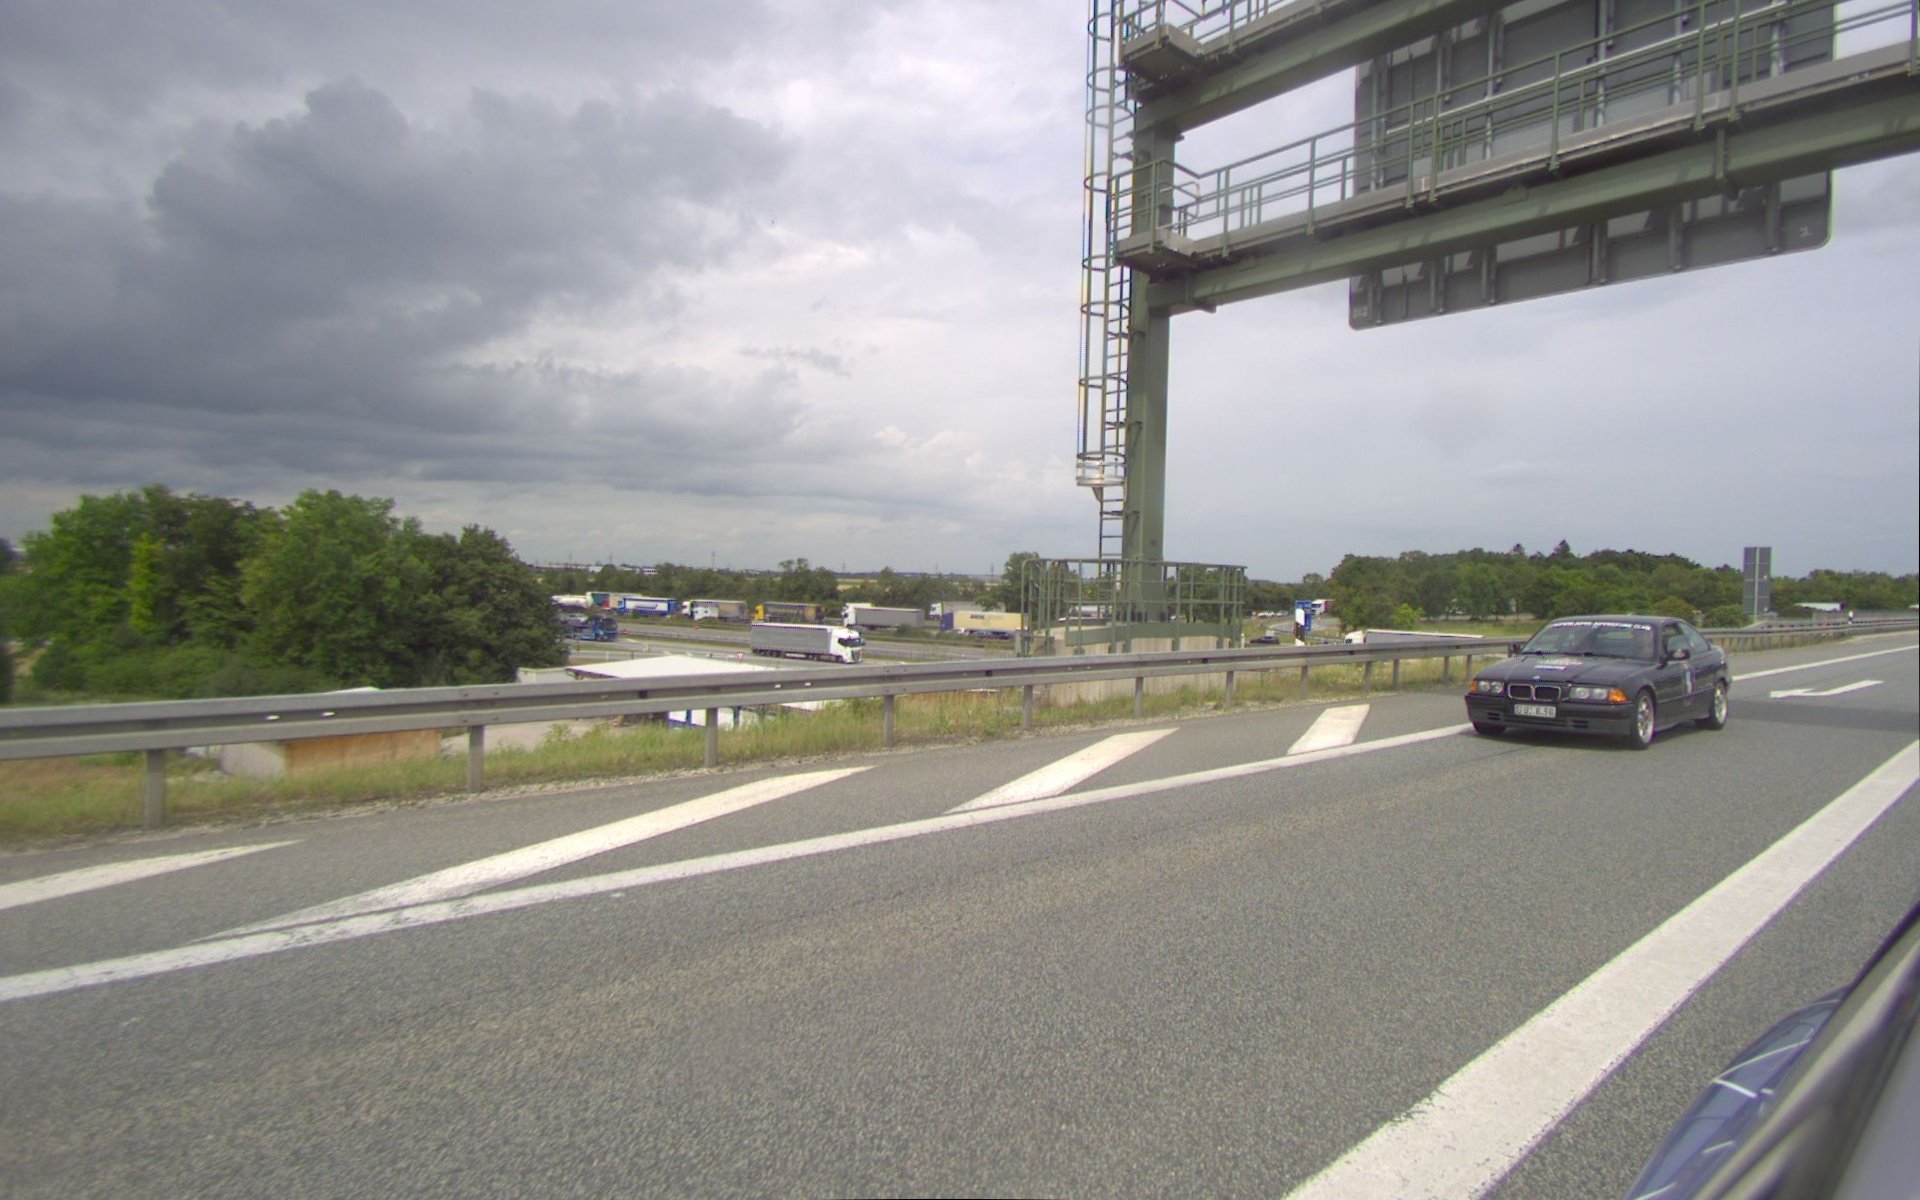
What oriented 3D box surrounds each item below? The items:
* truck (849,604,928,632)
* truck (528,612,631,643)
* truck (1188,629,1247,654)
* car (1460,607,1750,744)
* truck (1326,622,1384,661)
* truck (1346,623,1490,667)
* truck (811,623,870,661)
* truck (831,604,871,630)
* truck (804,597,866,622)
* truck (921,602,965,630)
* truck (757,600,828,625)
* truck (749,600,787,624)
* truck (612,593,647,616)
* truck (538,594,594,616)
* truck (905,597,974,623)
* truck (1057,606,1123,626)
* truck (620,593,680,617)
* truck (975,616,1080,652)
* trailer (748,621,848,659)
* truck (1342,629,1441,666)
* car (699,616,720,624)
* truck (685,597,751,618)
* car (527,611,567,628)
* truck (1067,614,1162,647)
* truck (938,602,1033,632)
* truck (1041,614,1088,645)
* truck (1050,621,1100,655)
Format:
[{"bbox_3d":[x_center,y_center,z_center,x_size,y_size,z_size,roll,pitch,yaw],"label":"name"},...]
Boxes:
[{"bbox_3d":[-12.610,3.071,177.423,14.797,4.612,3.955,0,-1,37],"label":"truck"},{"bbox_3d":[-56.226,3.950,149.015,18.909,4.111,3.947,0,0,34],"label":"truck"},{"bbox_3d":[35.000,5.604,137.856,7.520,3.238,2.203,0,-1,36],"label":"truck"},{"bbox_3d":[7.589,0.759,11.739,4.289,1.297,1.707,1,-1,-41],"label":"car"},{"bbox_3d":[51.543,5.393,131.986,6.259,4.734,3.879,0,0,38],"label":"truck"},{"bbox_3d":[57.495,5.541,127.487,16.074,4.759,3.942,0,0,36],"label":"truck"},{"bbox_3d":[-14.091,4.872,119.174,6.488,4.152,2.951,1,-1,36],"label":"truck"},{"bbox_3d":[-19.640,2.985,182.675,6.255,4.568,3.881,0,-1,36],"label":"truck"},{"bbox_3d":[-27.011,1.990,218.551,12.779,5.105,3.943,1,-1,8],"label":"truck"},{"bbox_3d":[-2.883,2.651,171.099,6.254,4.568,3.882,0,-1,36],"label":"truck"},{"bbox_3d":[-31.800,2.291,191.011,15.220,4.612,3.954,0,-1,38],"label":"truck"},{"bbox_3d":[-37.085,2.238,195.100,6.462,4.555,4.017,0,-1,38],"label":"truck"},{"bbox_3d":[-71.202,0.963,217.811,6.451,4.798,4.024,1,-1,33],"label":"truck"},{"bbox_3d":[-89.369,1.109,229.304,15.251,4.883,4.035,0,-1,35],"label":"truck"},{"bbox_3d":[-4.275,2.151,214.962,14.582,5.281,3.859,1,-1,2],"label":"truck"},{"bbox_3d":[28.221,3.478,220.197,14.422,4.142,3.092,1,-1,-20],"label":"truck"},{"bbox_3d":[-65.628,0.998,214.027,14.385,4.883,4.036,0,-1,34],"label":"truck"},{"bbox_3d":[7.936,3.990,120.706,13.048,3.725,2.467,2,0,34],"label":"truck"},{"bbox_3d":[-19.885,4.746,123.402,14.159,4.152,2.951,1,-1,36],"label":"trailer"},{"bbox_3d":[52.431,5.690,123.108,10.703,4.123,3.203,0,-1,33],"label":"truck"},{"bbox_3d":[-47.488,3.757,191.736,3.976,1.505,1.715,1,0,36],"label":"car"},{"bbox_3d":[-48.499,1.502,202.570,14.800,4.083,4.090,0,-1,36],"label":"truck"},{"bbox_3d":[-56.855,2.653,139.332,4.621,2.040,2.002,3,-2,-6],"label":"car"},{"bbox_3d":[23.059,4.479,151.673,13.703,4.612,3.957,0,-1,36],"label":"truck"},{"bbox_3d":[4.079,2.749,166.048,16.264,4.612,3.956,0,-1,36],"label":"truck"},{"bbox_3d":[16.156,4.460,156.717,6.254,4.568,3.881,0,-1,36],"label":"truck"},{"bbox_3d":[13.327,4.343,117.048,5.130,3.726,2.467,2,0,34],"label":"truck"}]
